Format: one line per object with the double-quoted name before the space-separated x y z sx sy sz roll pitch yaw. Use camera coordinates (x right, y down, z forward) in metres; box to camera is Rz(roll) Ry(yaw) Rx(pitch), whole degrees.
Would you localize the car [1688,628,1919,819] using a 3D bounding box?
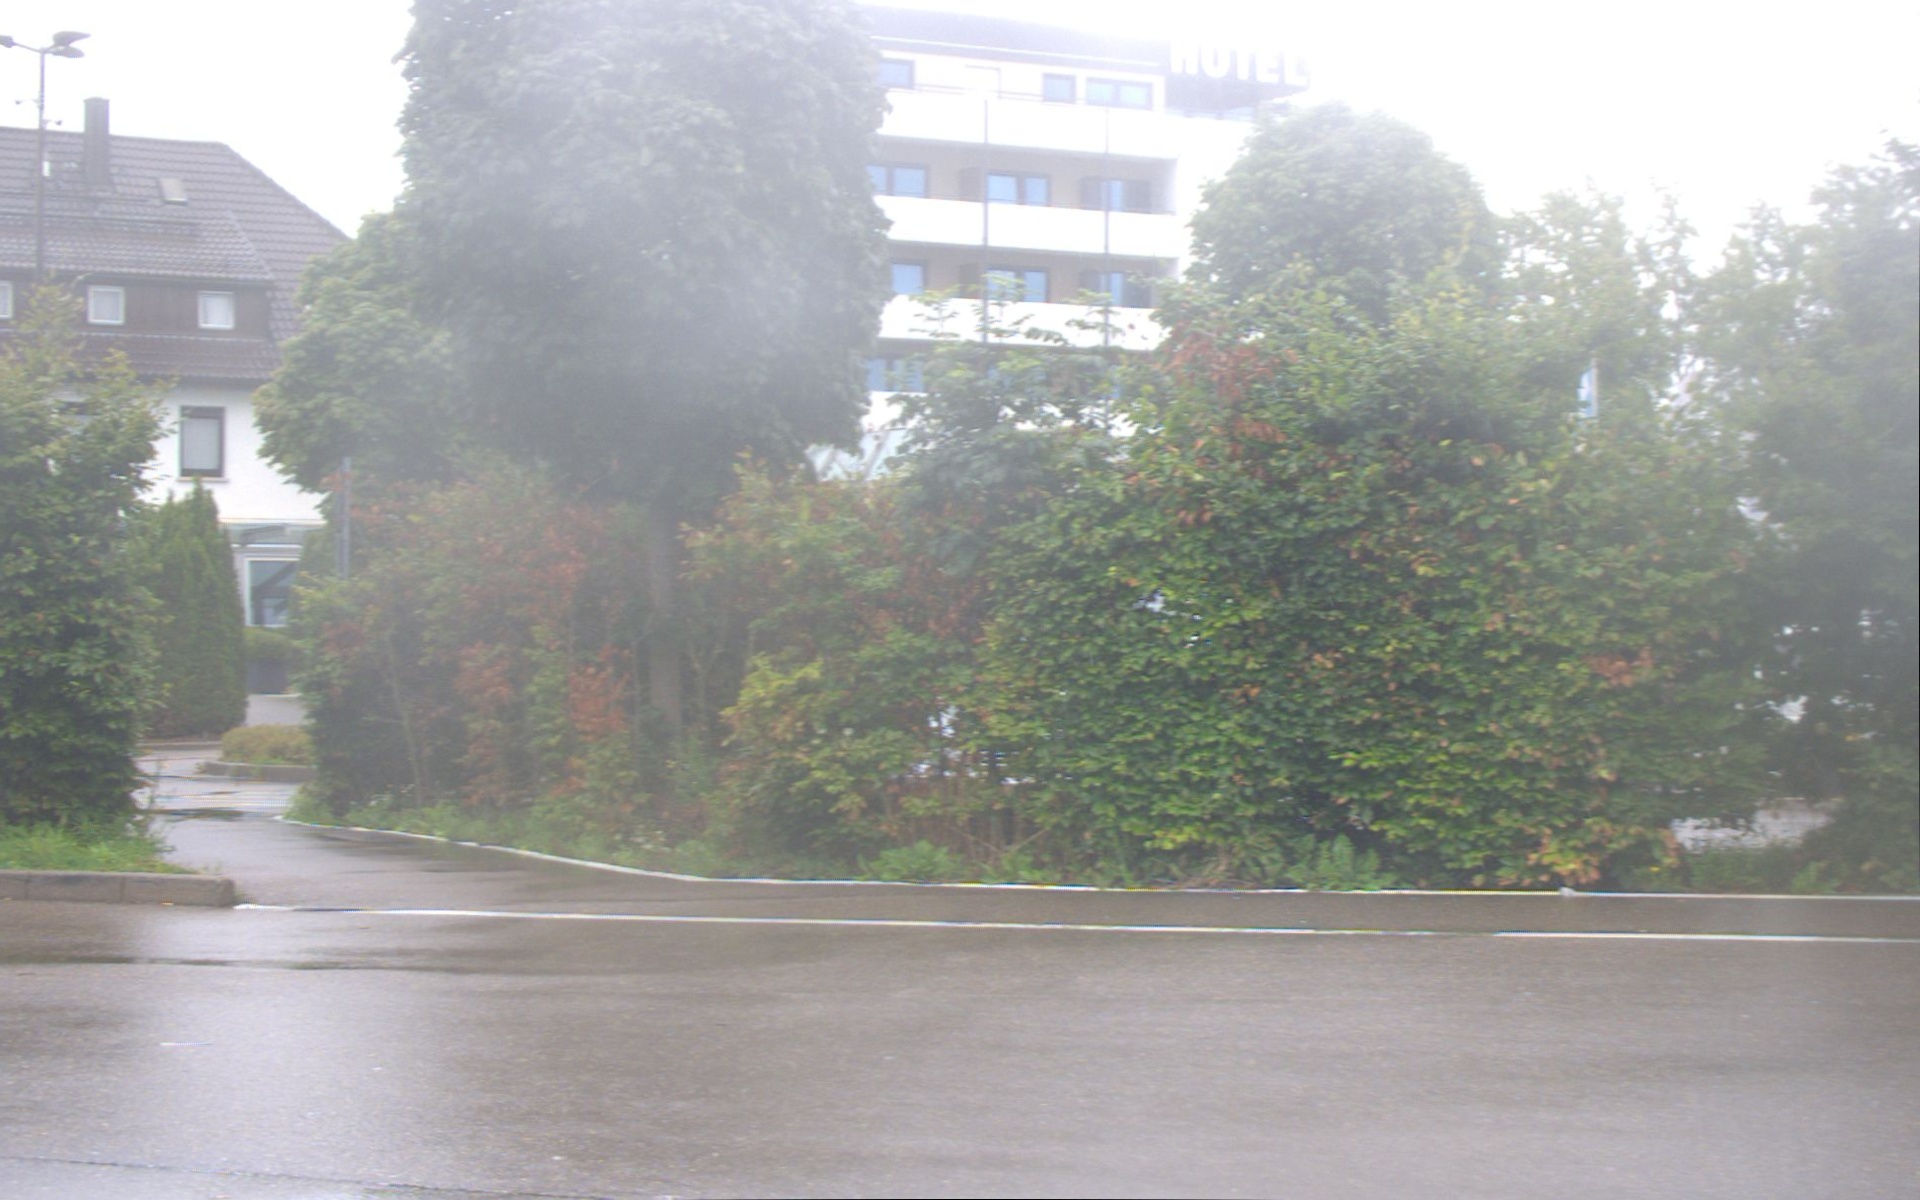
"car" 7.602 1.002 29.650 1.881 1.467 4.763 -1 0 21
